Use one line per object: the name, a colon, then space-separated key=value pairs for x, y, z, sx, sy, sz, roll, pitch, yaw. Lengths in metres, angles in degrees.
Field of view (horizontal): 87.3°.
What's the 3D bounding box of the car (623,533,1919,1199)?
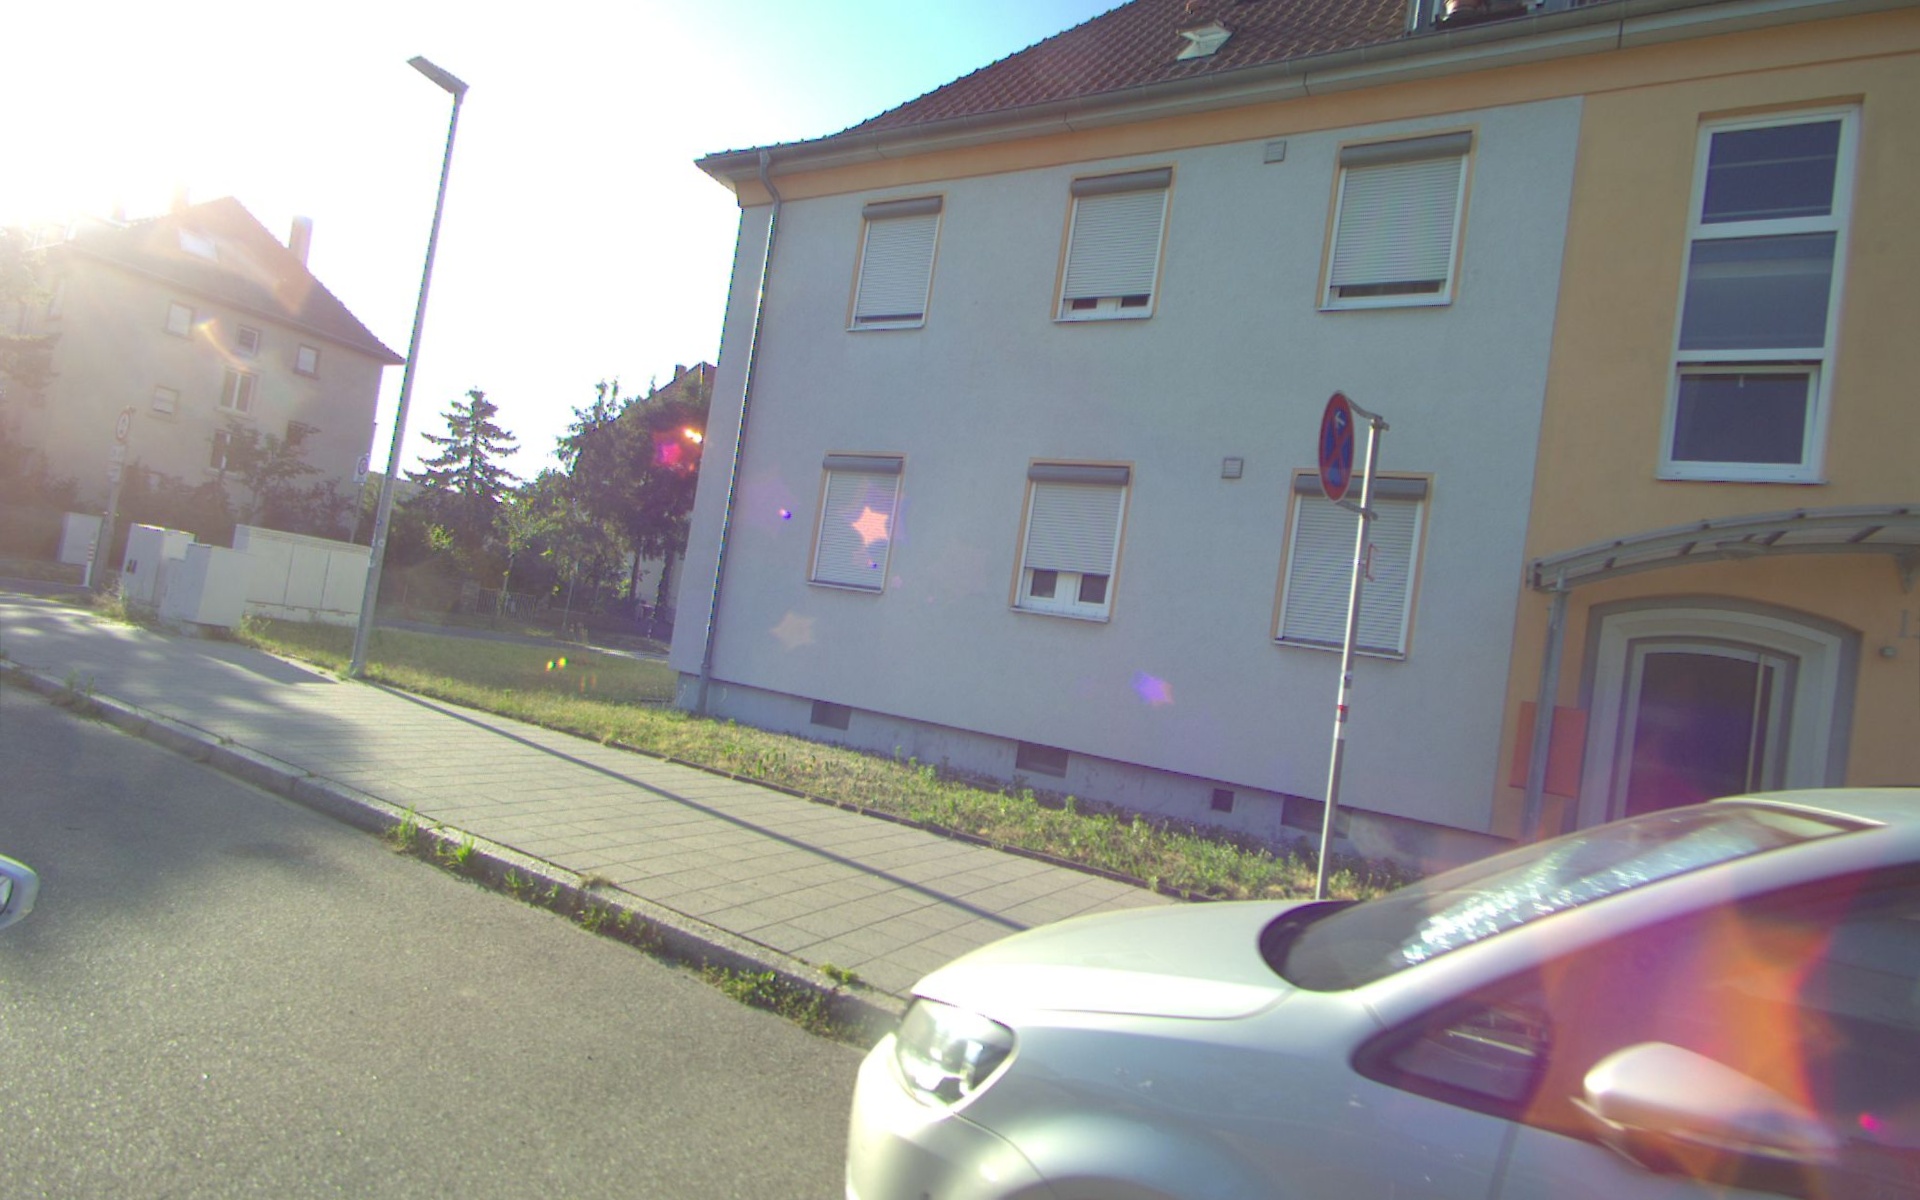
car: x=1.776 y=1.064 z=1.658 sx=4.484 sy=1.655 sz=1.724 roll=7 pitch=-5 yaw=28
